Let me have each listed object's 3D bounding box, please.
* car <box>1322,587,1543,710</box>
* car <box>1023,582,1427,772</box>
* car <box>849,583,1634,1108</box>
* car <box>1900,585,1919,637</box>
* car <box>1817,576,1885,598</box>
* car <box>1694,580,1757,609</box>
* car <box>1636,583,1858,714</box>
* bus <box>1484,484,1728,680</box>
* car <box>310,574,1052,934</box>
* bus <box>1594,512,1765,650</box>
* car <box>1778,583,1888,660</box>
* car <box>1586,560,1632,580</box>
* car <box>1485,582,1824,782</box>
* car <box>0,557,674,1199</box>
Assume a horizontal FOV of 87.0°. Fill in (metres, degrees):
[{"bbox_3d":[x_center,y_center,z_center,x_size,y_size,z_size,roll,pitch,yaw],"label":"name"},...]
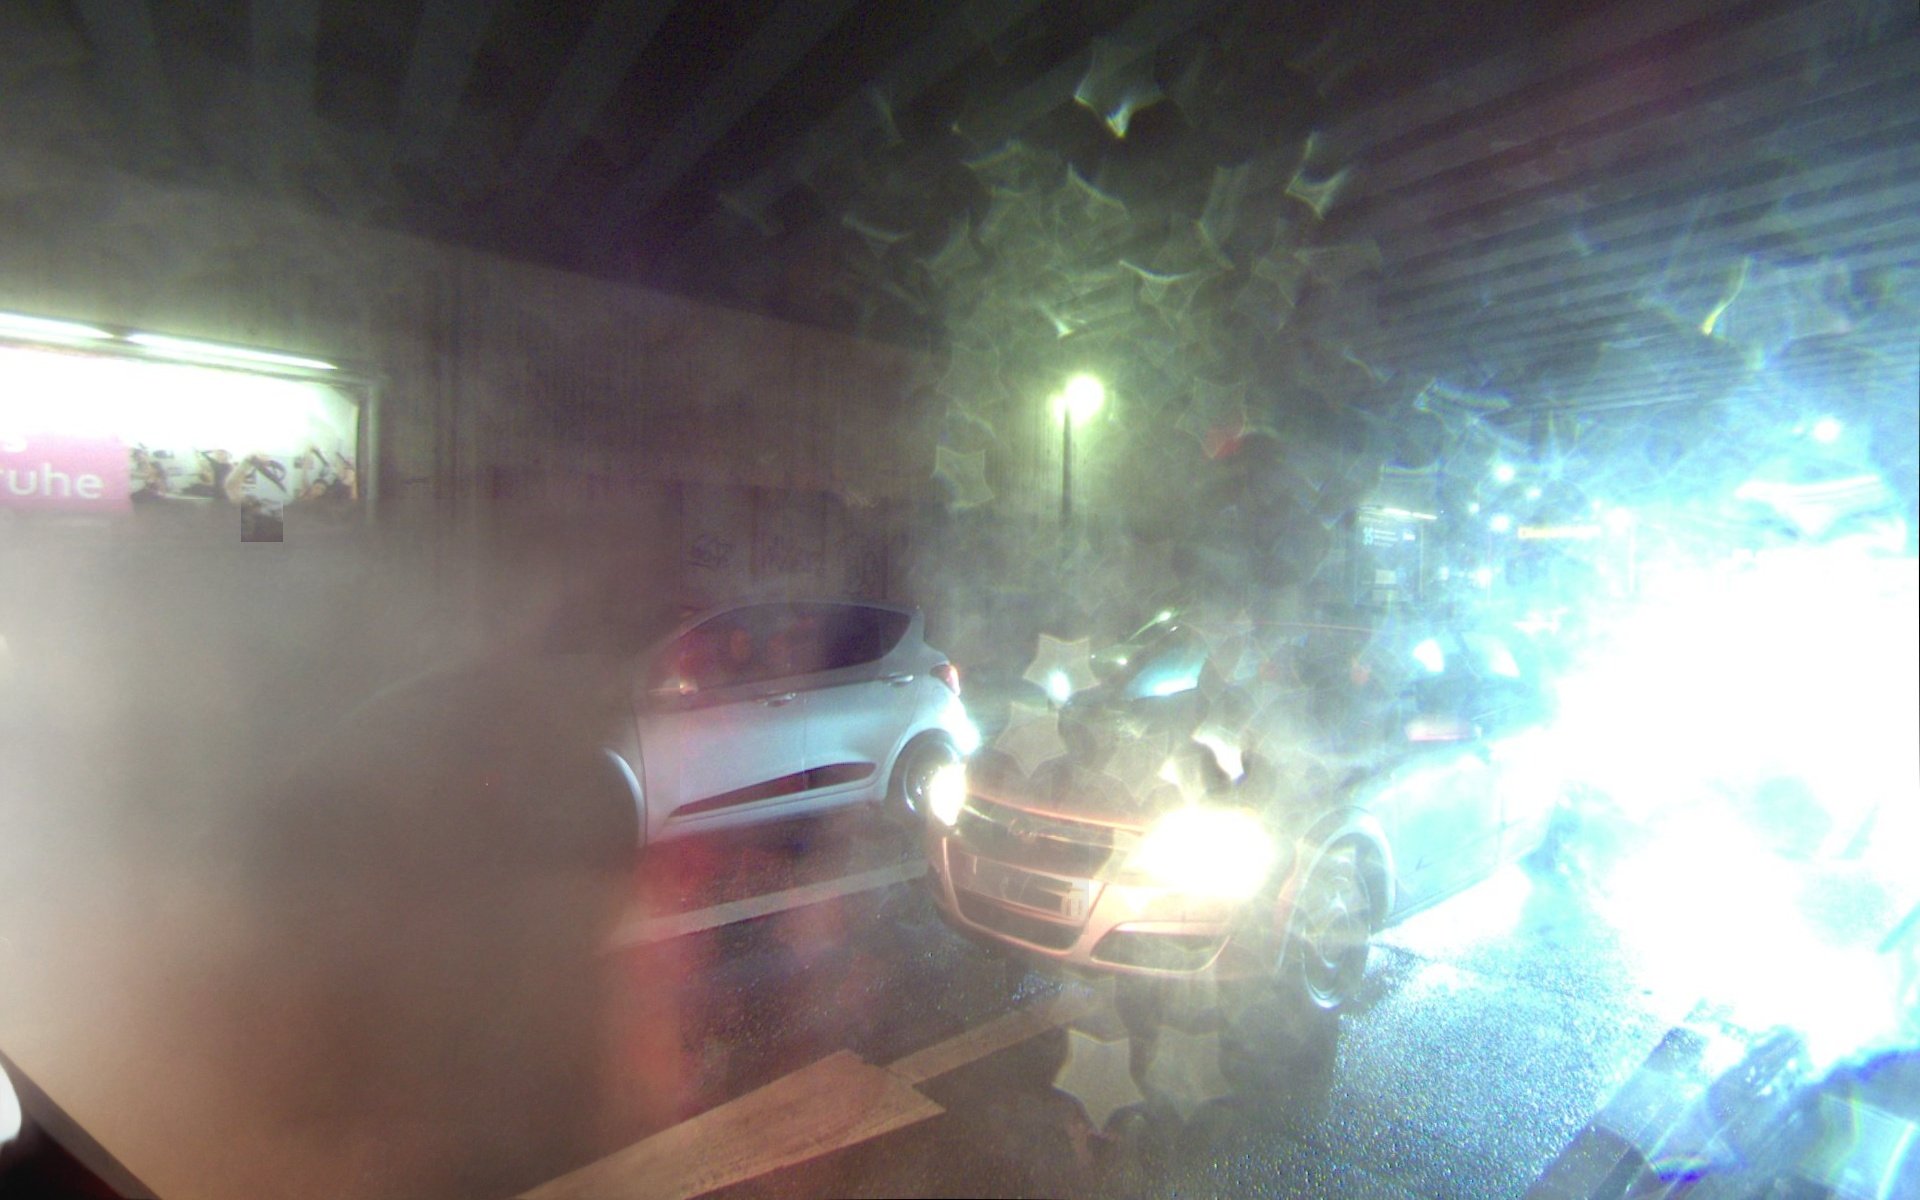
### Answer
[{"bbox_3d":[7.163,0.606,15.153,1.721,1.505,4.096,3,3,44],"label":"car"},{"bbox_3d":[2.906,0.584,10.401,4.705,1.505,1.723,-1,2,-42],"label":"car"},{"bbox_3d":[1.632,0.658,4.865,4.091,1.464,1.723,-1,2,-42],"label":"car"},{"bbox_3d":[29.795,0.325,30.744,1.720,1.505,4.098,3,3,42],"label":"car"},{"bbox_3d":[65.286,-0.980,74.257,2.015,1.505,4.474,2,2,18],"label":"car"},{"bbox_3d":[43.879,-0.349,58.099,1.705,1.505,4.134,2,2,21],"label":"car"},{"bbox_3d":[10.786,0.538,13.772,3.906,1.481,1.696,-1,3,-42],"label":"car"},{"bbox_3d":[14.073,-0.398,21.566,2.733,3.318,9.550,1,1,43],"label":"bus"},{"bbox_3d":[-1.464,0.610,6.251,4.091,1.464,1.723,-1,3,-42],"label":"car"},{"bbox_3d":[20.533,-0.548,28.580,2.733,3.278,9.550,1,1,43],"label":"bus"},{"bbox_3d":[19.825,0.410,22.943,1.720,1.505,4.098,3,3,42],"label":"car"},{"bbox_3d":[46.354,-2.147,72.347,1.685,1.407,3.979,0,1,17],"label":"car"},{"bbox_3d":[6.739,0.626,9.647,4.091,1.506,1.722,-1,-2,-42],"label":"car"},{"bbox_3d":[-2.685,0.680,1.011,4.308,1.464,1.723,-1,3,-42],"label":"car"}]
